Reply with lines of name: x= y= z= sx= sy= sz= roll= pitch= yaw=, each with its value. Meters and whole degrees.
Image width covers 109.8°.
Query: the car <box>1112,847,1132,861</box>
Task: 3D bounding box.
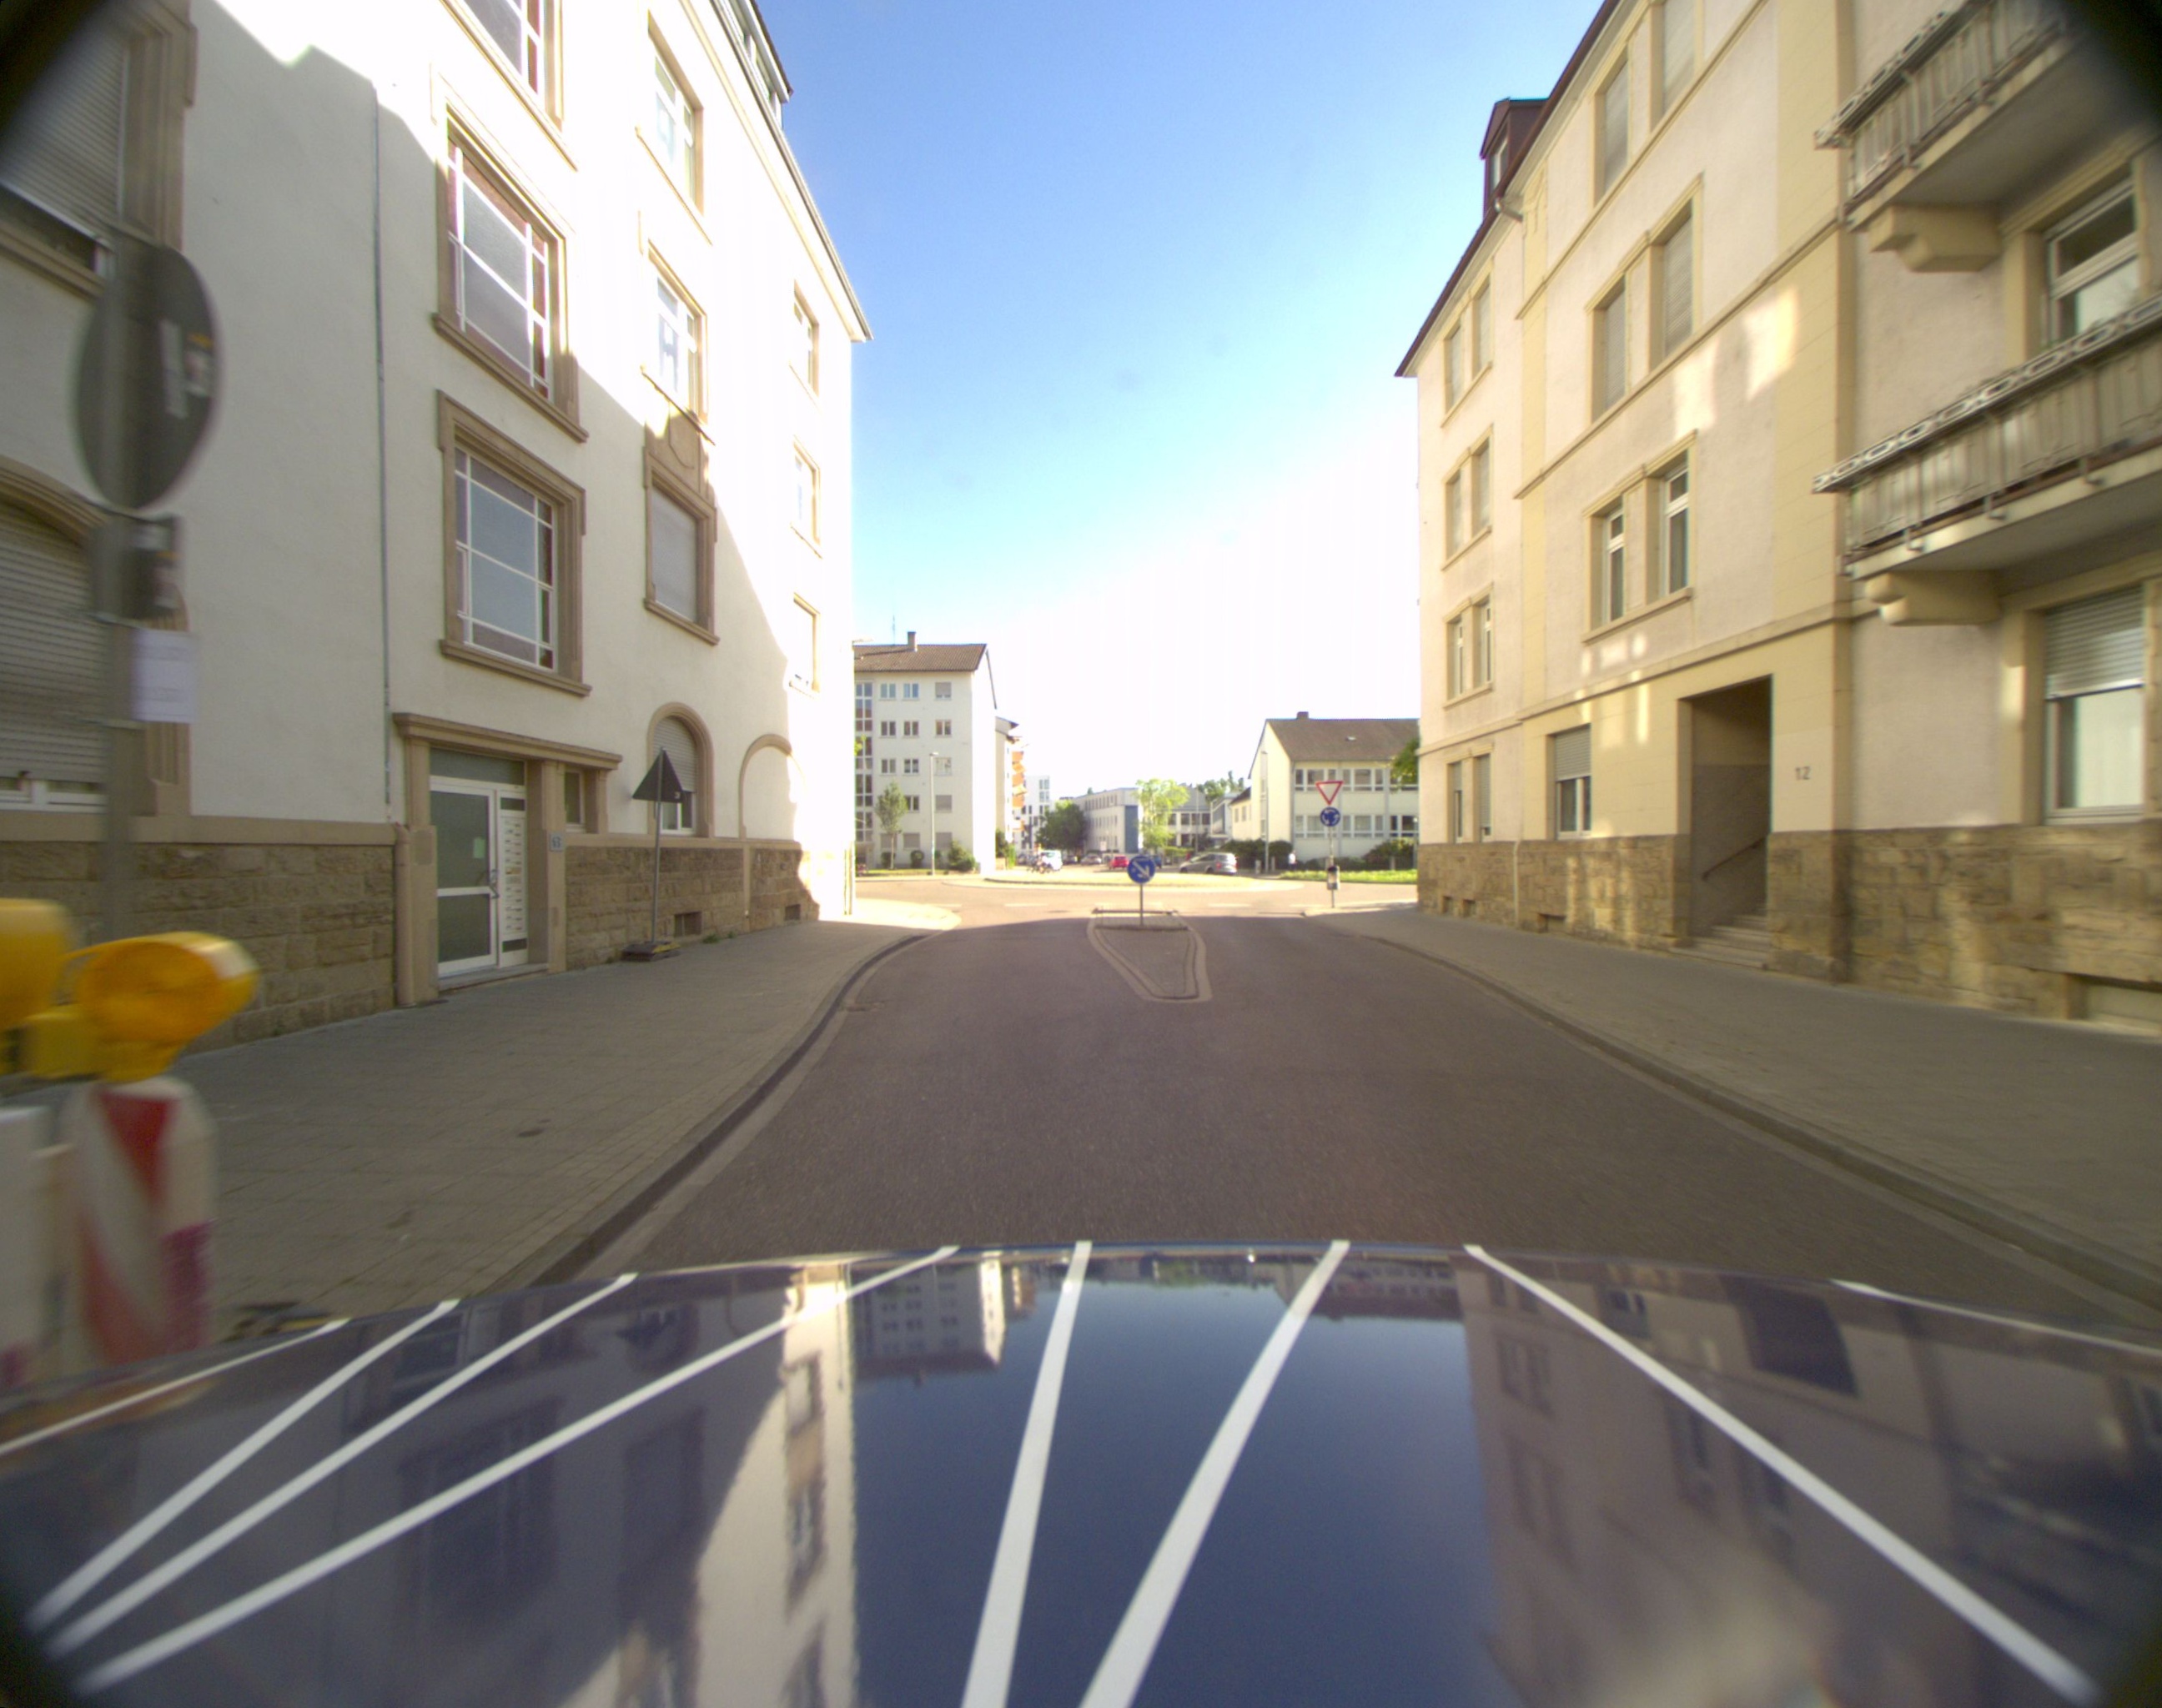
car: x=4.362 y=0.001 z=81.280 sx=1.716 sy=1.374 sz=3.999 roll=2 pitch=0 yaw=-4

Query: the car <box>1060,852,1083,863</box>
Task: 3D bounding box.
car: x=-1.551 y=0.565 z=118.145 sx=2.141 sy=1.604 sz=4.827 roll=-1 pitch=1 yaw=-19

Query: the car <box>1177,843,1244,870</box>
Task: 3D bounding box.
car: x=8.351 y=0.181 z=49.409 sx=1.884 sy=1.685 sz=4.263 roll=1 pitch=-1 yaw=-32

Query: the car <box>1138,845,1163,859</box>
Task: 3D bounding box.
car: x=7.296 y=-0.189 z=80.194 sx=1.885 sy=1.426 sz=4.412 roll=-1 pitch=0 yaw=-4

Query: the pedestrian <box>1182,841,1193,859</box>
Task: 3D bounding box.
pedestrian: x=10.095 y=-0.378 z=71.879 sx=0.819 sy=1.696 sz=0.996 roll=0 pitch=1 yaw=-9

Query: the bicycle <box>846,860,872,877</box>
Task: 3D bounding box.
bicycle: x=-14.798 y=0.951 z=50.587 sx=1.625 sy=1.073 sz=0.384 roll=1 pitch=3 yaw=-6

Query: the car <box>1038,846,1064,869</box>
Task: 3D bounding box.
car: x=-2.878 y=0.336 z=74.841 sx=1.998 sy=2.002 sz=4.798 roll=4 pitch=0 yaw=3

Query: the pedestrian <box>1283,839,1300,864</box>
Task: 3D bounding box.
pedestrian: x=14.350 y=-0.200 z=51.793 sx=0.994 sy=1.696 sz=0.693 roll=0 pitch=1 yaw=30

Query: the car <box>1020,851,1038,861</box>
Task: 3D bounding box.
car: x=-9.818 y=0.432 z=142.844 sx=2.141 sy=1.800 sz=4.827 roll=-1 pitch=1 yaw=-19

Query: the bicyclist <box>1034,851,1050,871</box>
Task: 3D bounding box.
bicyclist: x=-2.528 y=0.448 z=48.847 sx=0.826 sy=1.304 sz=0.810 roll=-1 pitch=1 yaw=-18

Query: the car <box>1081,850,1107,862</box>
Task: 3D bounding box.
car: x=1.788 y=0.260 z=108.241 sx=2.141 sy=1.604 sz=4.827 roll=-1 pitch=1 yaw=-20

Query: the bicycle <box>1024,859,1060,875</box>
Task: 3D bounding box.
bicycle: x=-2.513 y=0.829 z=48.854 sx=2.212 sy=1.008 sz=0.810 roll=0 pitch=1 yaw=-19
